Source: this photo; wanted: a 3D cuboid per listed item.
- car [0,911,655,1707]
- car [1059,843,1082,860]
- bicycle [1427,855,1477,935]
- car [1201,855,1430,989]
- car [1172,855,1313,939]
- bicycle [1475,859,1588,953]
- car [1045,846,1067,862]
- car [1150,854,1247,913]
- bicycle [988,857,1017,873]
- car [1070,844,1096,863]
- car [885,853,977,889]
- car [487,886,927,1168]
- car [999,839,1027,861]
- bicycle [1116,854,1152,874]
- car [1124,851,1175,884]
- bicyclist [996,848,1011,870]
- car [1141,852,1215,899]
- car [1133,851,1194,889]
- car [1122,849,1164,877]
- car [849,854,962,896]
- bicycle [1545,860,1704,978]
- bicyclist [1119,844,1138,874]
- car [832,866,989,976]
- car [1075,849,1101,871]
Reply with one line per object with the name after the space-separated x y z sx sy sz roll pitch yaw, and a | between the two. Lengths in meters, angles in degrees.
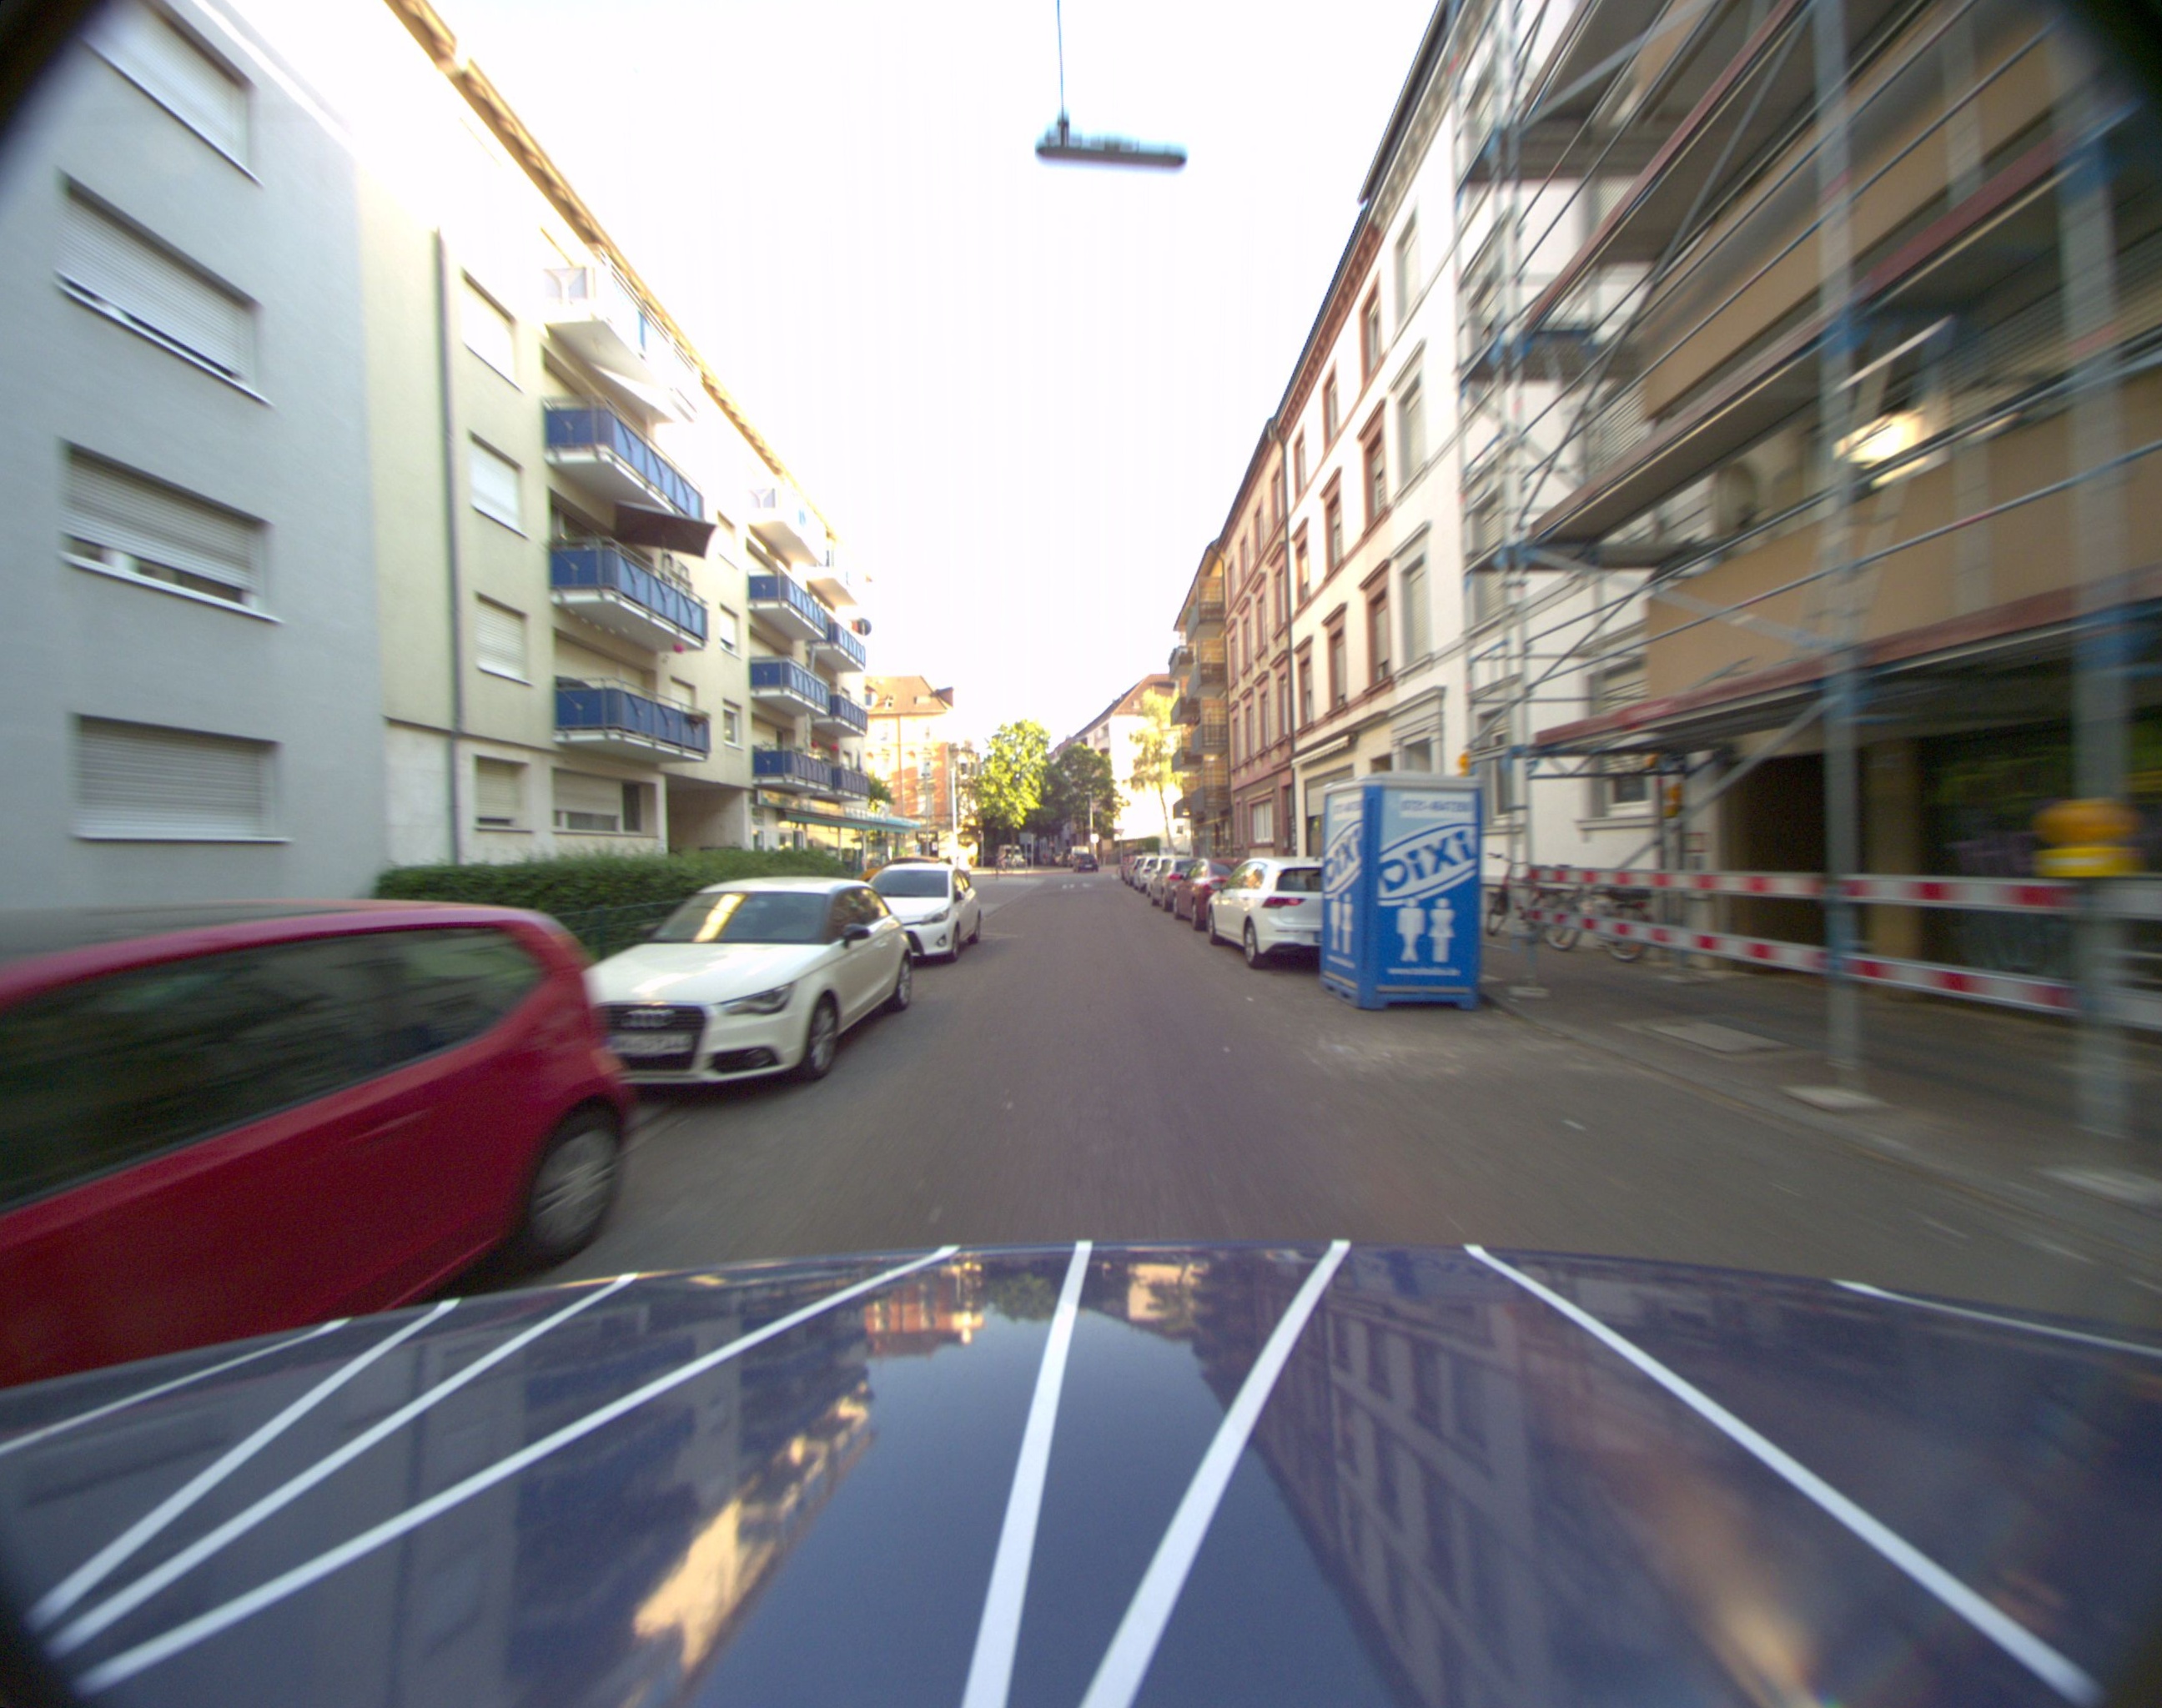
-2.852 1.037 1.706 1.680 1.474 3.651 -1 1 0 | car
-1.149 -0.260 79.599 2.081 1.760 4.215 -1 1 -6 | car
6.239 0.657 12.836 0.490 1.162 1.684 -4 1 19 | bicycle
3.088 0.803 10.973 1.999 1.496 3.999 -1 1 -1 | car
3.183 0.777 15.801 1.999 1.440 3.999 -1 1 -1 | car
6.335 0.682 10.800 0.405 1.162 1.816 -5 1 -2 | bicycle
-2.983 0.004 89.866 2.081 1.760 4.214 -1 1 -8 | car
3.131 0.746 21.116 1.999 1.423 3.999 -1 1 -1 | car
-6.109 0.843 59.212 2.110 1.162 0.725 -1 1 -24 | bicycle
0.185 -0.034 73.848 2.081 1.760 4.215 -1 1 -6 | car
-7.100 0.786 36.233 3.997 1.556 1.999 -1 1 -2 | car
-2.615 1.109 6.529 1.680 1.411 4.135 -1 1 0 | car
-7.431 -0.422 82.634 2.163 2.270 6.200 -1 1 -13 | car
3.133 0.606 45.320 2.106 1.162 0.567 -1 1 -1 | bicycle
3.281 0.605 37.116 1.999 1.462 3.999 -1 1 -1 | car
-6.034 0.367 59.211 0.974 1.663 0.799 -1 1 -24 | bicyclist
3.283 0.693 26.537 1.999 1.423 3.999 -1 1 -1 | car
3.309 0.612 31.206 1.999 1.423 3.999 -1 1 -1 | car
3.453 0.495 42.828 1.999 1.462 3.845 -1 1 -1 | car
-6.896 0.805 30.188 3.997 1.556 1.999 -1 1 -2 | car
6.251 0.688 8.867 0.442 1.162 1.816 -5 1 -2 | bicycle
2.830 0.297 45.299 1.097 1.792 0.567 -1 1 -1 | bicyclist
-2.636 0.974 12.717 1.680 1.411 4.135 -1 1 0 | car
0.495 0.424 57.600 1.829 1.496 3.998 -1 1 -2 | car
